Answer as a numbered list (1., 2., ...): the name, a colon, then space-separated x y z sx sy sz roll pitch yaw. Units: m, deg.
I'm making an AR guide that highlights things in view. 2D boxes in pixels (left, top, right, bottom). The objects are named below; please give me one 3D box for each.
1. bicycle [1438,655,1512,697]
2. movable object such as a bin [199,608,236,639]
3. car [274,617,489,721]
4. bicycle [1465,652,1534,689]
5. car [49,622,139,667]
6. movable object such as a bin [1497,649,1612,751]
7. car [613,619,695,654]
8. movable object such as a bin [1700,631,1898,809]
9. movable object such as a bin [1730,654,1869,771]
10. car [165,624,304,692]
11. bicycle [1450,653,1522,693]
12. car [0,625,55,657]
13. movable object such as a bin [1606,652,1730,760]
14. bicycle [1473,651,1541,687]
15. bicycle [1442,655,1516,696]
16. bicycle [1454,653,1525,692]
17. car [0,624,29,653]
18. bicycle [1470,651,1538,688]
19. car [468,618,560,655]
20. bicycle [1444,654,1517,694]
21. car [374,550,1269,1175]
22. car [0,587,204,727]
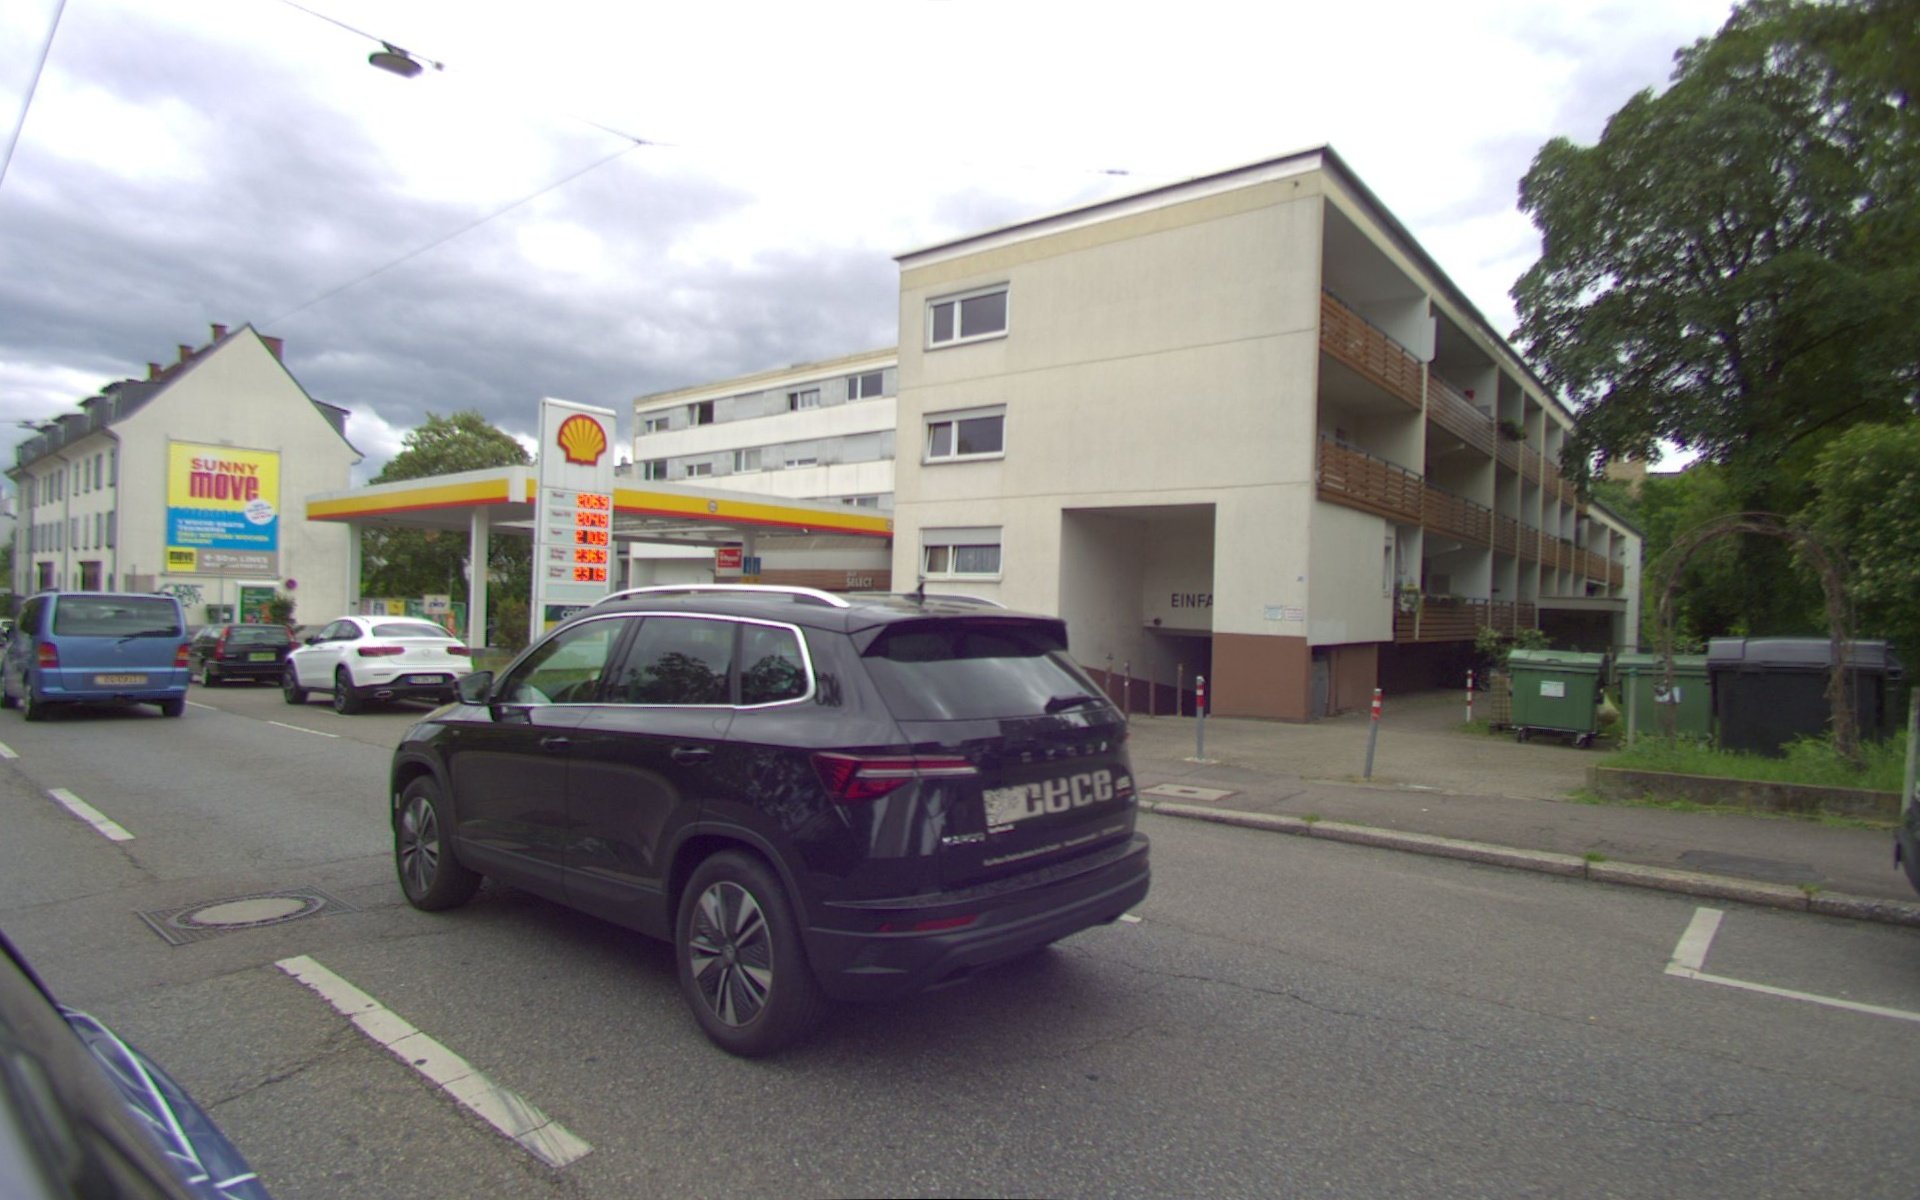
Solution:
1. bicycle: 15.391 2.252 30.285 1.934 1.145 0.452 -1 -2 42
2. movable object such as a bin: -38.171 1.214 52.019 1.104 1.550 1.251 -2 -4 41
3. car: -10.298 1.130 17.850 4.698 1.589 1.895 -1 -3 42
4. bicycle: 17.680 2.290 33.182 1.934 1.145 0.452 -1 -2 42
5. car: -30.245 1.538 35.299 4.216 1.461 1.772 -1 -3 41
6. movable object such as a bin: 9.151 1.505 15.595 1.396 1.439 0.901 -1 -1 39
7. car: -13.239 1.539 43.728 3.634 1.431 1.779 -1 -1 41
8. movable object such as a bin: 7.528 1.009 9.186 1.277 1.439 1.269 -1 -1 37
9. movable object such as a bin: 11.363 1.478 13.754 1.396 1.439 0.901 -1 -1 39
10. car: -17.180 1.324 23.868 4.744 1.442 1.778 -2 -3 44
11. bicycle: 16.393 2.270 31.597 1.934 1.145 0.452 -1 -2 42
12. car: -43.463 1.905 47.093 3.664 1.436 1.602 -2 -3 42
13. movable object such as a bin: 10.259 1.491 14.664 1.396 1.439 0.901 -1 -1 39
14. bicycle: 18.348 2.301 33.979 1.934 1.145 0.452 -1 -2 42
15. bicycle: 15.698 2.257 30.648 1.934 1.145 0.452 -1 -2 42
16. bicycle: 16.731 2.275 32.011 1.934 1.145 0.452 -1 -2 42
17. car: -50.285 1.990 53.196 3.602 1.486 1.531 -1 -3 41
18. bicycle: 18.026 2.295 33.551 1.934 1.145 0.452 -1 -2 42
19. car: -18.366 1.479 41.586 4.415 1.431 1.779 -1 -1 41
20. bicycle: 16.011 2.264 31.154 1.934 1.145 0.452 -1 -2 42
21. car: -0.933 0.730 4.685 4.162 1.602 1.821 -1 -3 41
22. car: -13.765 0.845 16.031 4.587 1.915 1.911 -2 -3 41
